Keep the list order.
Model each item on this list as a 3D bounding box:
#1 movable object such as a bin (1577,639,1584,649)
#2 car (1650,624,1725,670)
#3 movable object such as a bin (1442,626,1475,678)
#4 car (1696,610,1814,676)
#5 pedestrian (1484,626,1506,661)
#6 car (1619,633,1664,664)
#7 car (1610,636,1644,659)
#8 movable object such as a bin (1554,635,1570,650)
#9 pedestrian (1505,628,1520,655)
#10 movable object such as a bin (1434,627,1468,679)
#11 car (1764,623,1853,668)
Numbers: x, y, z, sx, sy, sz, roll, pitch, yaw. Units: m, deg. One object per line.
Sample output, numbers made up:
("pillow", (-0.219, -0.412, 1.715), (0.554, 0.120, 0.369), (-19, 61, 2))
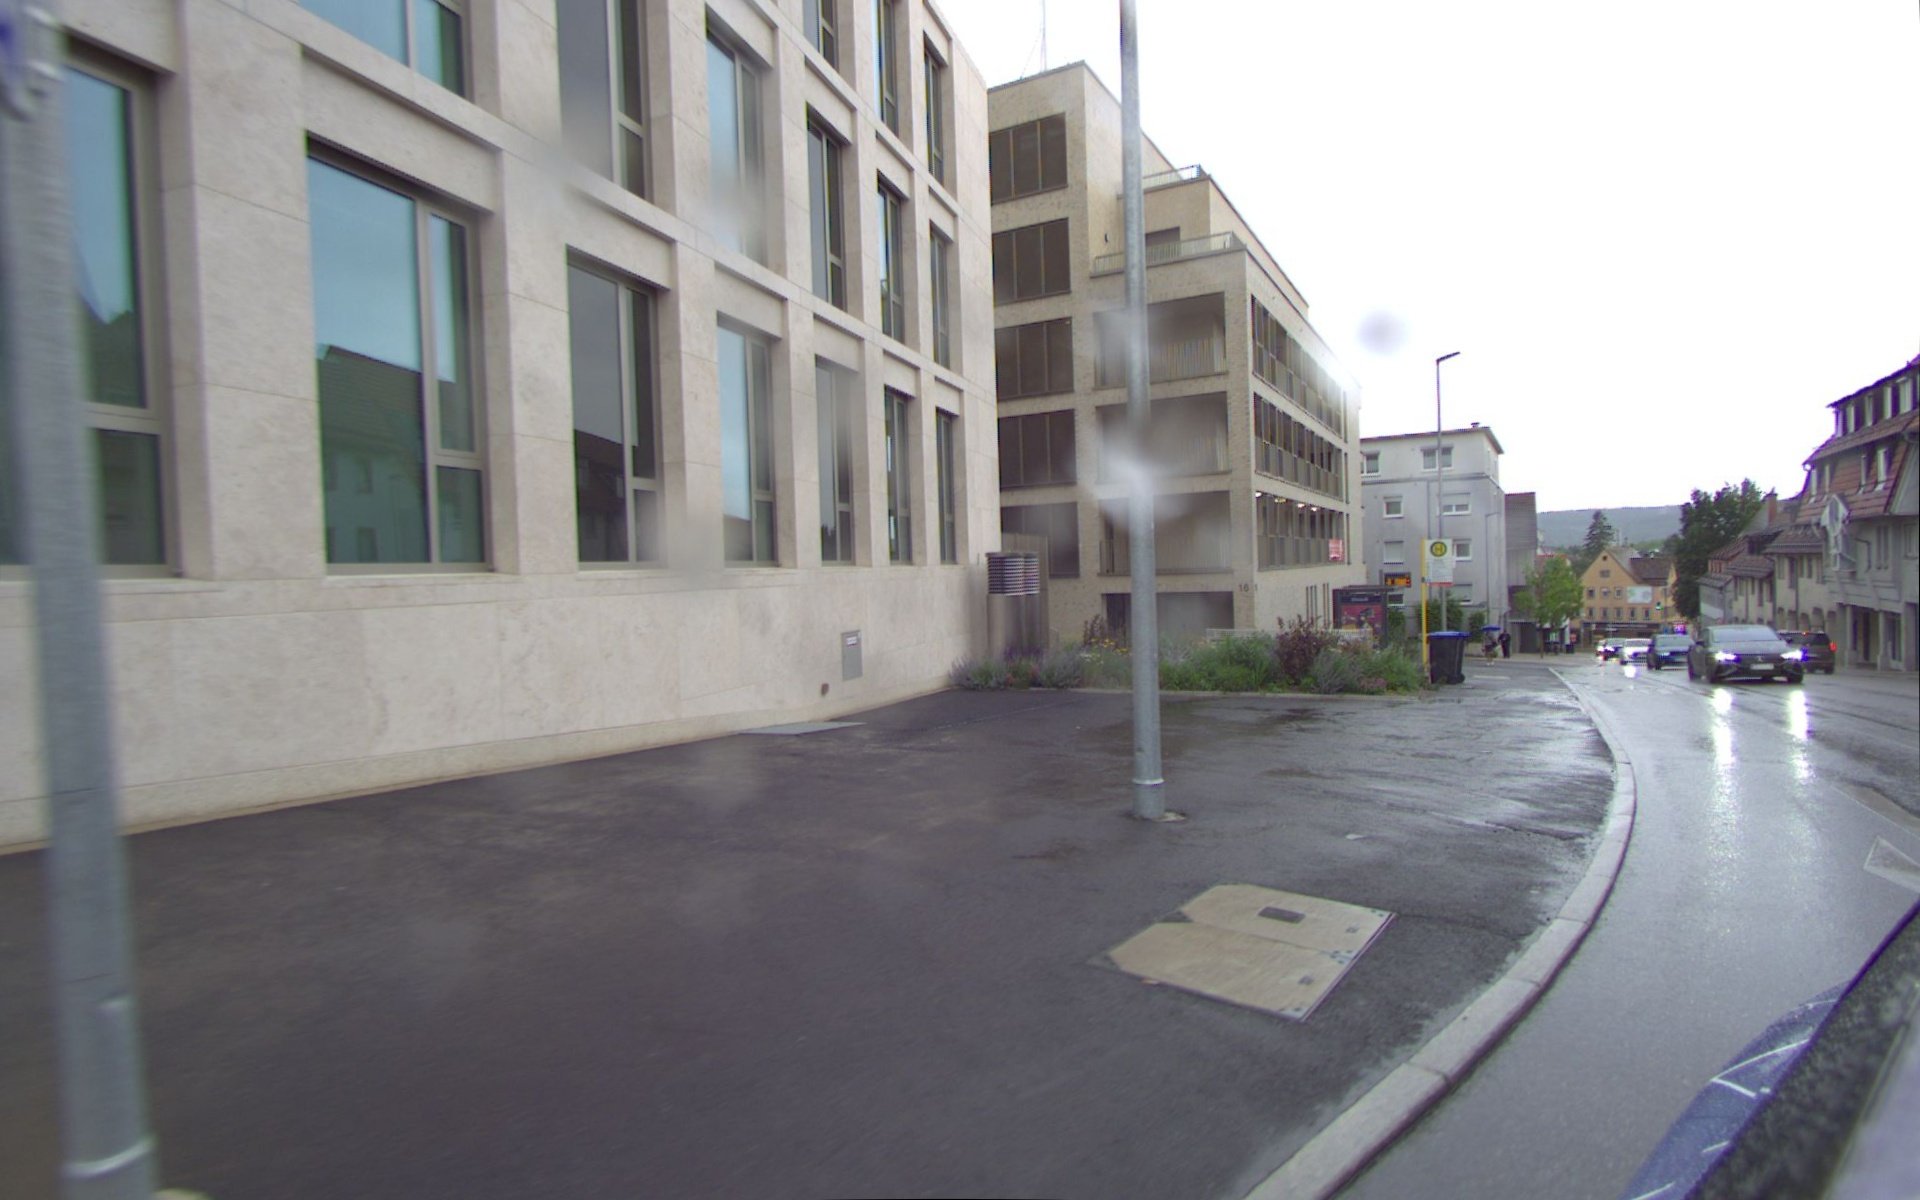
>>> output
("movable object such as a bin", (67.306, 4.761, 109.789), (0.593, 1.041, 0.470), (1, -2, 34))
("car", (29.848, 1.956, 41.651), (1.951, 1.793, 4.337), (-1, -4, 29))
("movable object such as a bin", (10.745, 1.111, 21.795), (0.592, 1.076, 0.572), (-1, -2, 31))
("car", (20.854, 1.121, 26.746), (1.954, 1.578, 4.567), (-1, -2, 32))
("pedestrian", (24.543, 1.986, 46.441), (0.733, 1.561, 1.025), (2, -1, 35))
("car", (37.528, 2.670, 55.811), (1.954, 1.629, 4.329), (-1, -4, 33))
("car", (47.871, 3.429, 72.693), (1.954, 1.629, 4.329), (-1, -4, 33))
("movable object such as a bin", (56.433, 3.947, 94.850), (1.230, 1.352, 1.158), (0, -2, 34))
("pedestrian", (32.576, 2.440, 59.633), (0.685, 1.576, 0.704), (-1, -3, 26))
("movable object such as a bin", (10.312, 1.099, 21.261), (0.592, 1.076, 0.572), (-1, -2, 31))
("car", (32.910, 1.734, 39.367), (1.771, 1.651, 4.173), (-1, -2, 28))
